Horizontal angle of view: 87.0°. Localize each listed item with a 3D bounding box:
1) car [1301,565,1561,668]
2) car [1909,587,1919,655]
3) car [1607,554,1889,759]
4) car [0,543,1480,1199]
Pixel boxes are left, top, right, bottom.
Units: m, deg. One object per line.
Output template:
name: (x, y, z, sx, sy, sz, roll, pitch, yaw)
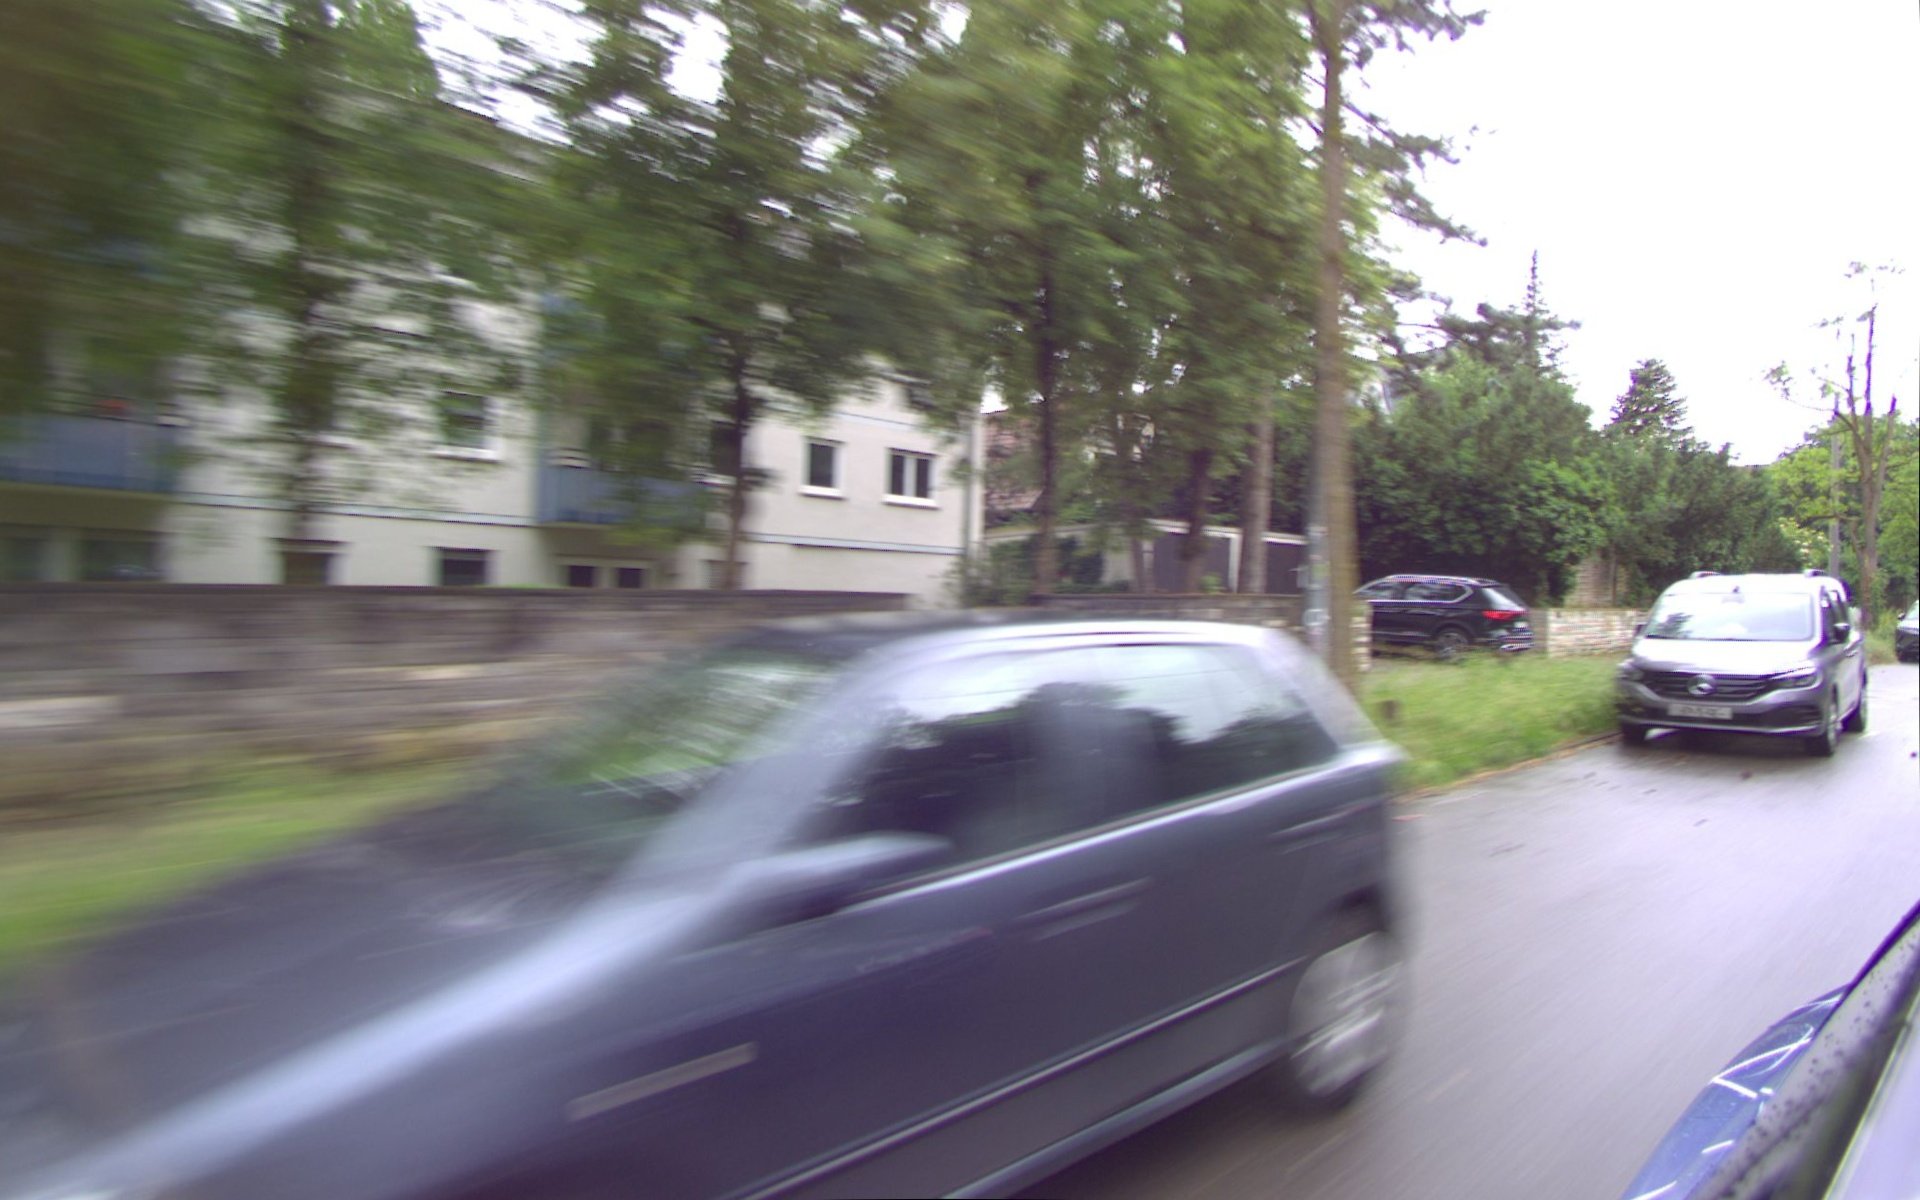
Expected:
car: (9.424, 0.228, 20.548, 1.965, 1.702, 4.320, -1, 4, -40)
car: (26.599, 0.567, 26.745, 4.250, 1.745, 1.776, 1, -1, -41)
car: (8.813, 0.535, 11.189, 4.210, 1.836, 1.816, 1, -1, -43)
car: (-0.314, 0.701, 2.703, 3.737, 1.483, 1.630, 1, -1, -38)
